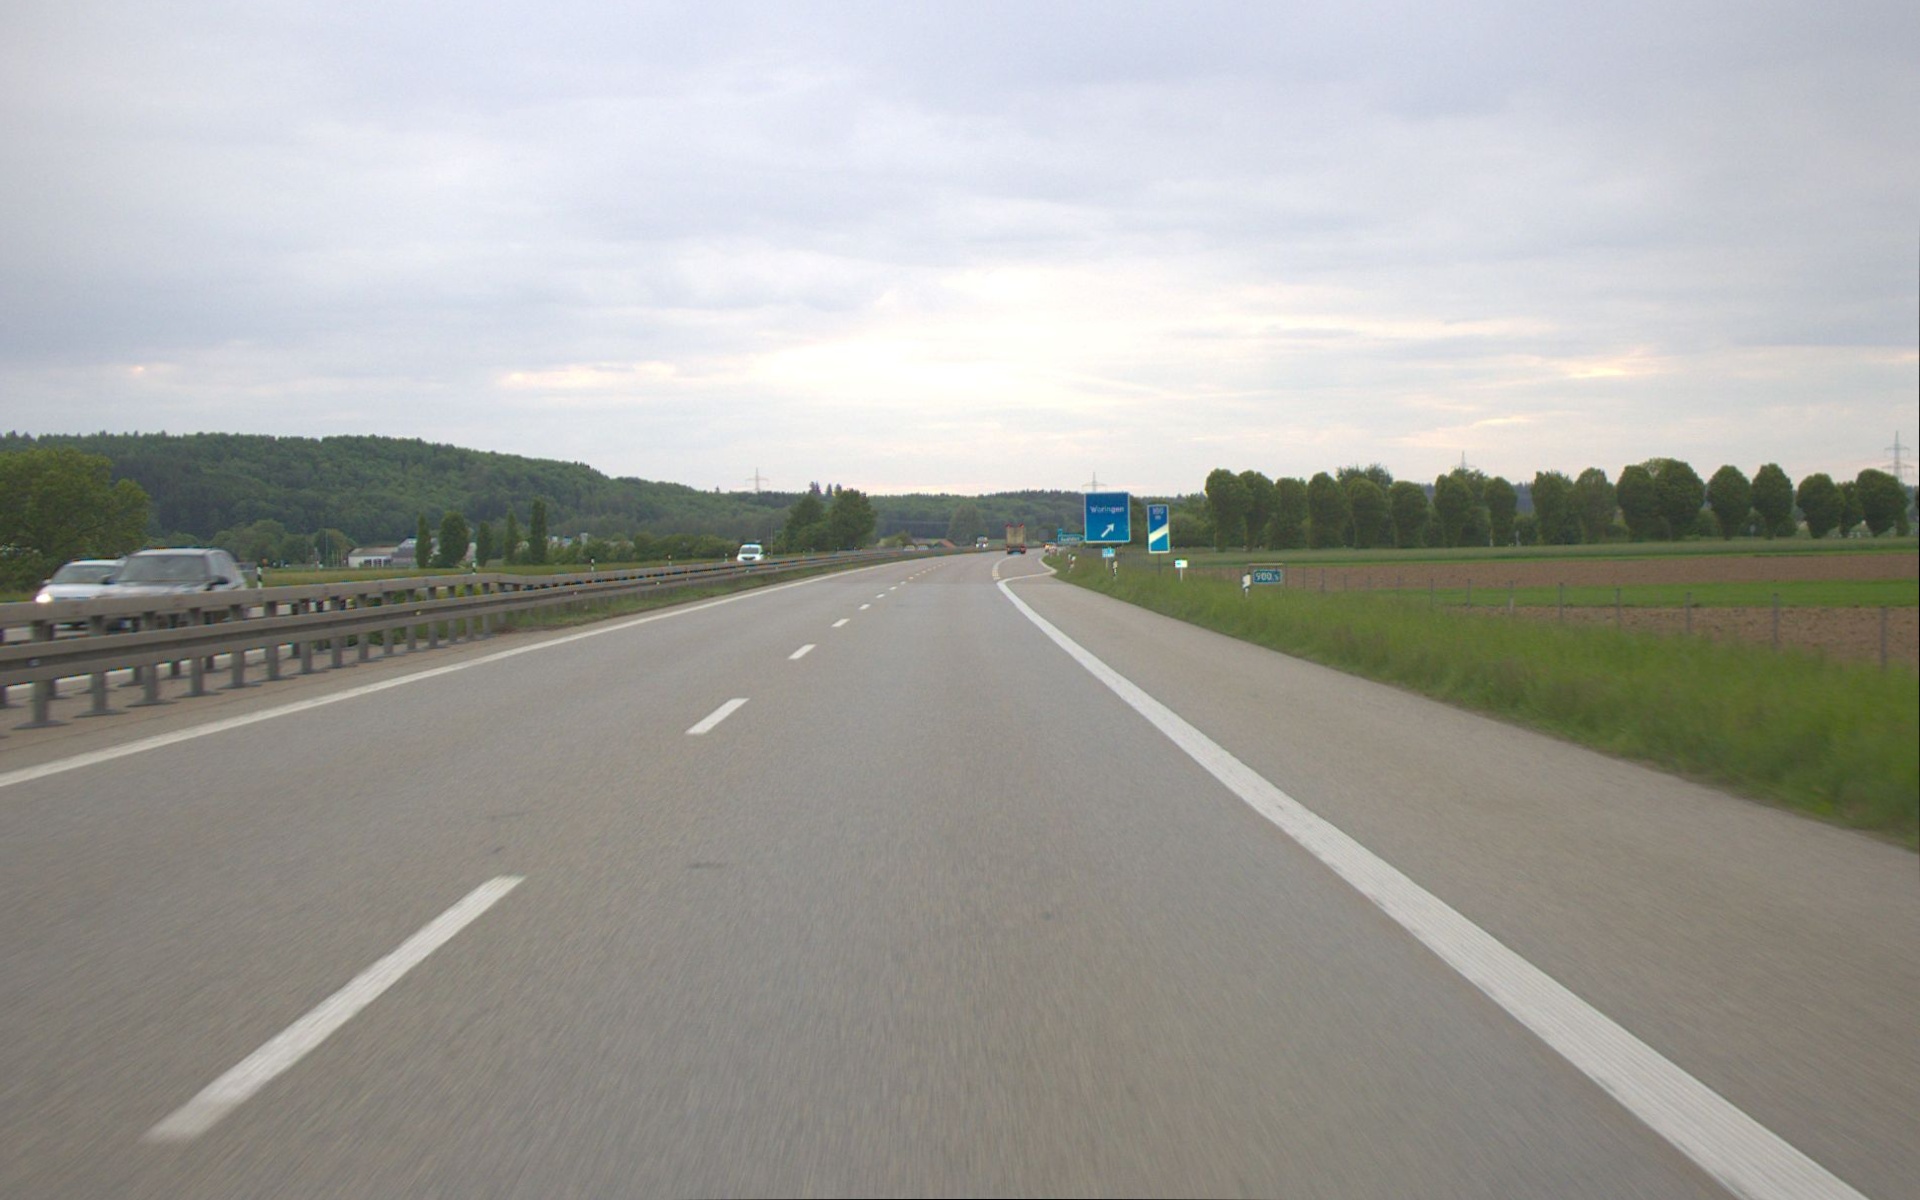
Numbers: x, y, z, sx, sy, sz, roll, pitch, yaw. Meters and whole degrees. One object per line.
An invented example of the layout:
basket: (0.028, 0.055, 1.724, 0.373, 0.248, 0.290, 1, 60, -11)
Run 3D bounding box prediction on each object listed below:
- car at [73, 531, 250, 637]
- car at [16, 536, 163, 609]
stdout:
car: (-13.390, -0.298, 57.874, 1.993, 1.695, 4.302, 1, 1, 0)
car: (-18.407, -0.608, 72.913, 1.993, 1.491, 4.763, -1, 1, -1)
